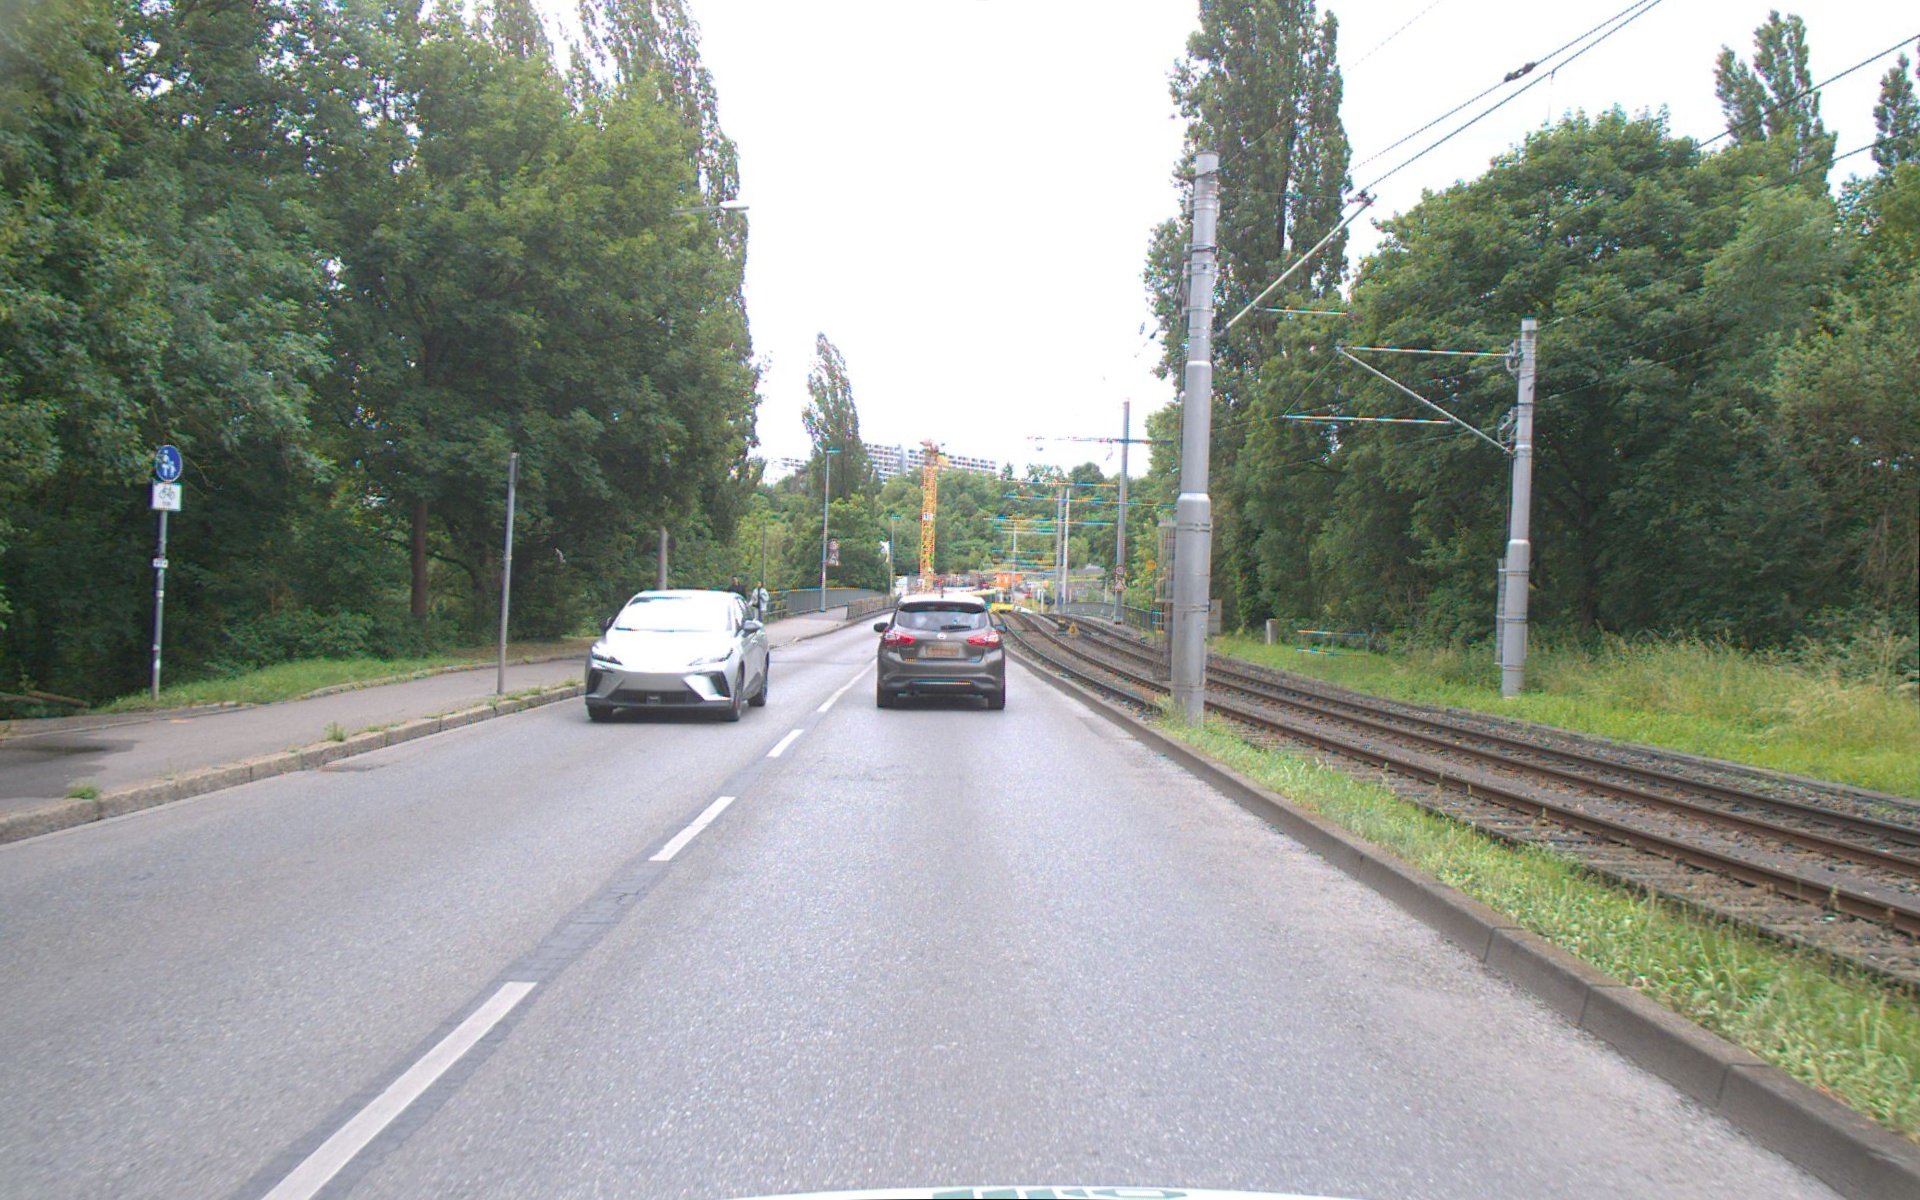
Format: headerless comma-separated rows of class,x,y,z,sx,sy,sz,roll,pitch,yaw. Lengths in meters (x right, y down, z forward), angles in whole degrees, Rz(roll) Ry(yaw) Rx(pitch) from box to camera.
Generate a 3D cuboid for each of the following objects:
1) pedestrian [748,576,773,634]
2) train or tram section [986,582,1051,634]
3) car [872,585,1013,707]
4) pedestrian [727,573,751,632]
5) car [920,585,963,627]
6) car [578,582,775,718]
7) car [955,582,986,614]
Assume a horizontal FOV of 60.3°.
pedestrian,-6.366,0.158,52.790,0.540,1.795,0.858,5,0,-1
train or tram section,6.519,1.117,191.050,2.972,5.273,23.005,3,-2,-9
car,-0.314,0.592,23.503,1.793,1.536,3.998,1,0,-3
pedestrian,-7.016,0.064,52.543,0.575,1.834,0.822,3,0,-1
car,-0.758,0.246,69.882,1.645,1.634,4.309,3,0,1
car,-3.415,0.548,20.673,1.757,1.518,4.180,0,0,0
car,0.584,-0.113,90.743,1.645,1.634,4.309,2,0,0
